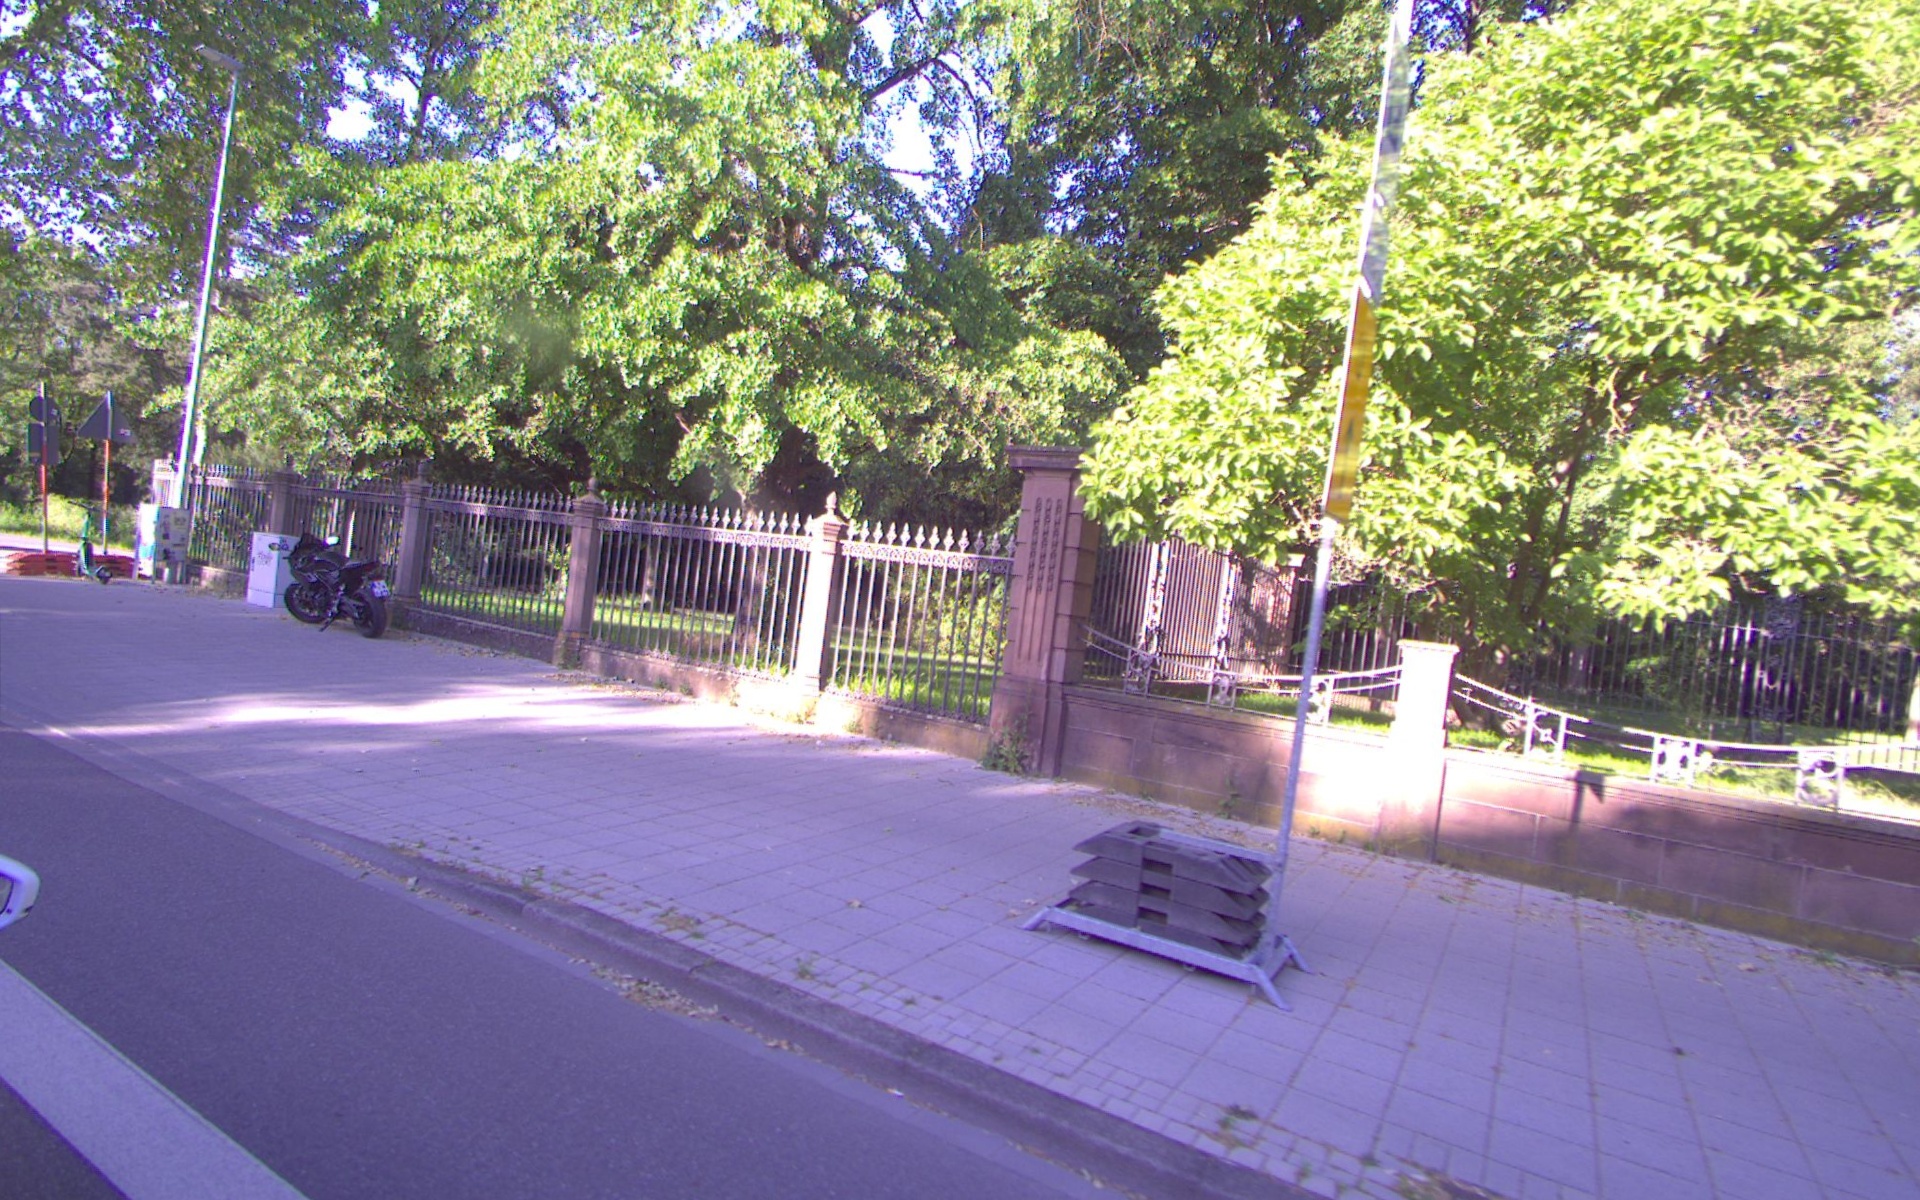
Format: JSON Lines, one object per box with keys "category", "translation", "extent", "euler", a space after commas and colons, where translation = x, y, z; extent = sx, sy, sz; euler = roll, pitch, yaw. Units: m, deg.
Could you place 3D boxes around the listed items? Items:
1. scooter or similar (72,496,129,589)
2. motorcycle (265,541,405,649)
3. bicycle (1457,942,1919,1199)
{"category": "scooter or similar", "translation": [-13.466, -0.914, 15.756], "extent": [1.152, 1.344, 0.228], "euler": [7, 2, 31]}
{"category": "motorcycle", "translation": [-7.880, -0.080, 12.648], "extent": [2.134, 1.146, 0.506], "euler": [7, 2, 31]}
{"category": "bicycle", "translation": [1.649, 1.229, 1.086], "extent": [2.046, 1.021, 0.670], "euler": [7, -1, 31]}
